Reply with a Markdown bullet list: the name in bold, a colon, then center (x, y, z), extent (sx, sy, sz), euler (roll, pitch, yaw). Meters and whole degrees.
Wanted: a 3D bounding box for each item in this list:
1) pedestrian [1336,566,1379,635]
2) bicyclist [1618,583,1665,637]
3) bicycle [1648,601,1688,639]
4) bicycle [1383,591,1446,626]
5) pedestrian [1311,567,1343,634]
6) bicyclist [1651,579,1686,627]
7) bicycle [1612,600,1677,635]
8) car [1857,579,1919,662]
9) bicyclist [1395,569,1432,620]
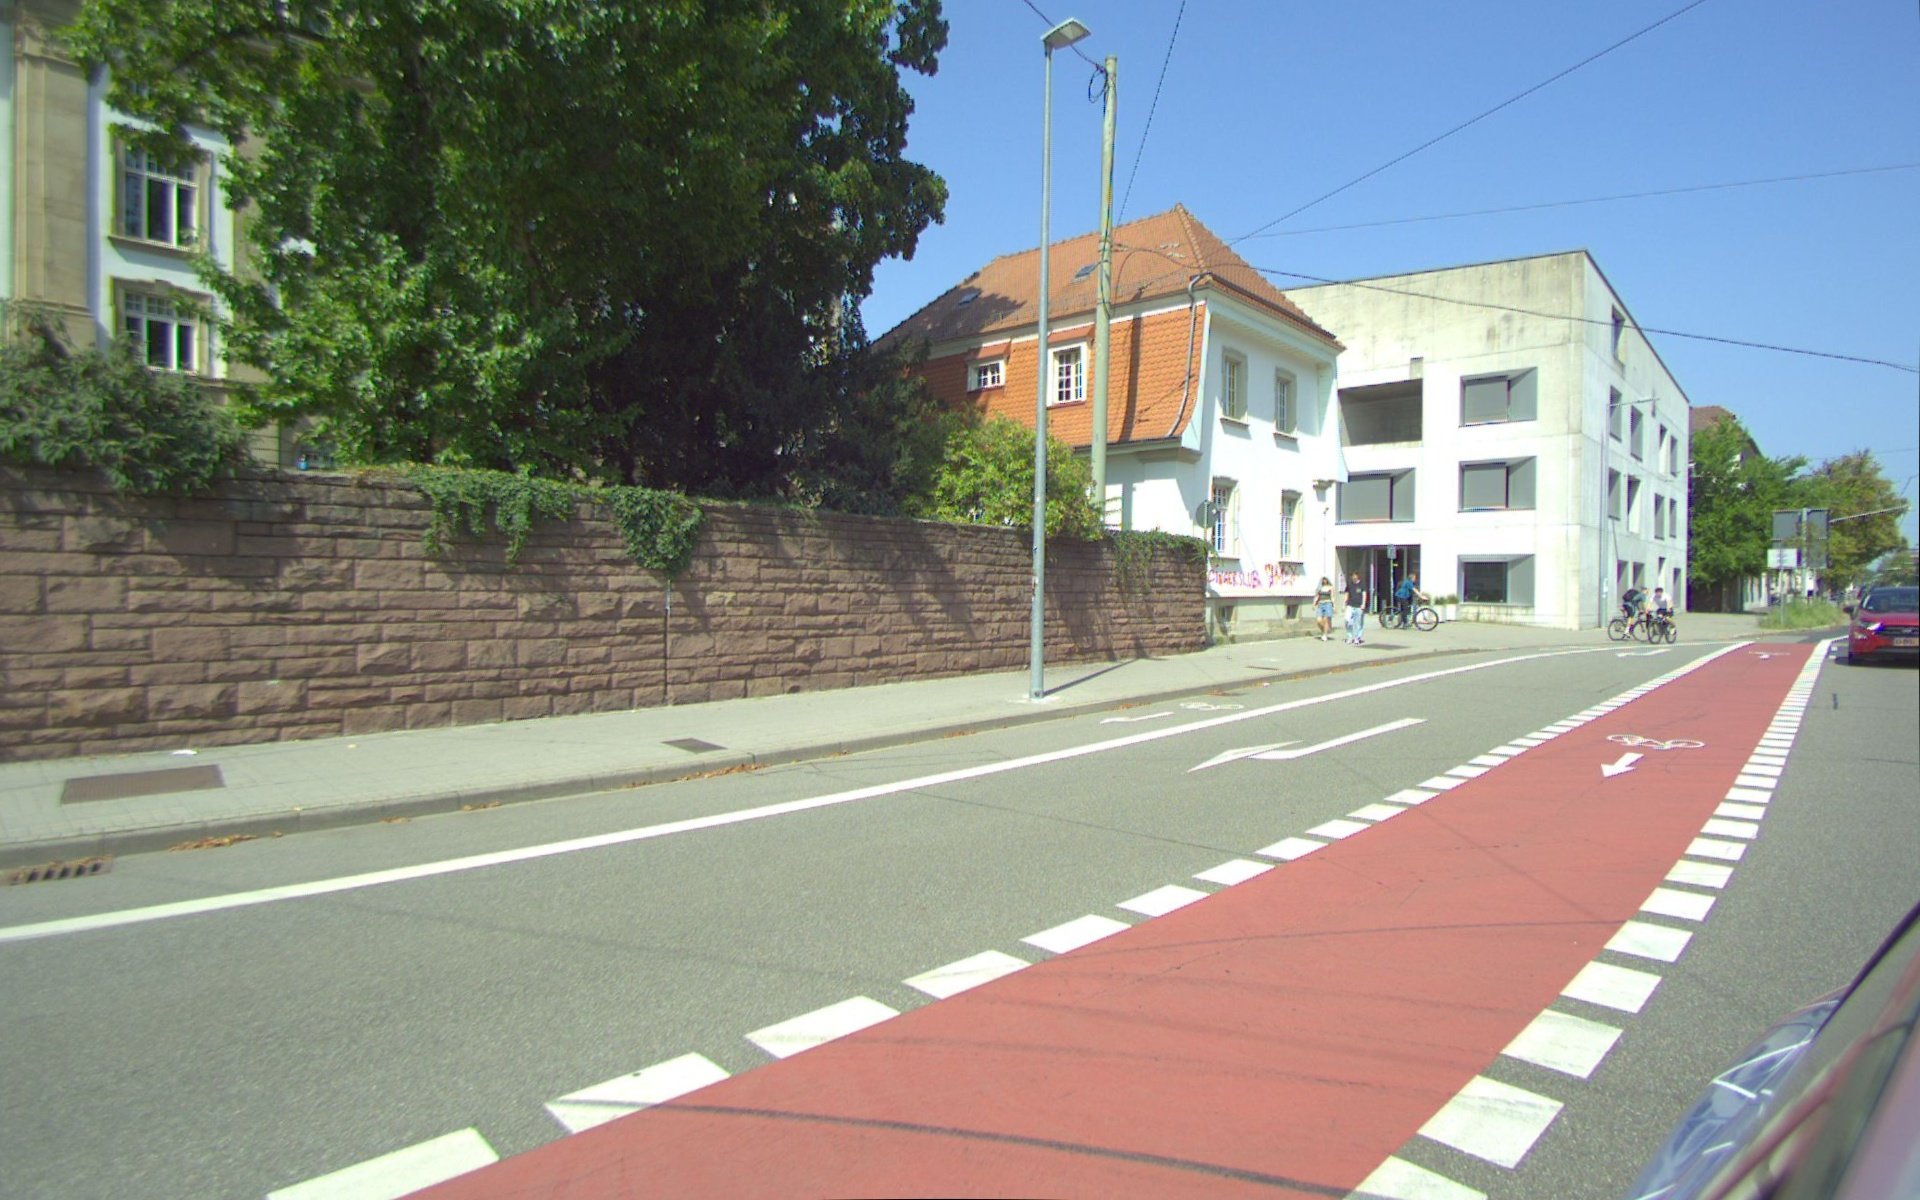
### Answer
- **pedestrian**: center (9.934, 0.006, 25.277), extent (0.727, 1.687, 0.865), euler (0, 0, 44)
- **bicyclist**: center (21.600, 0.307, 32.091), extent (0.972, 1.617, 0.629), euler (2, 2, -8)
- **bicycle**: center (21.191, 0.572, 30.267), extent (0.739, 1.062, 2.199), euler (1, 1, 42)
- **bicycle**: center (14.411, 0.268, 32.136), extent (1.685, 1.012, 0.613), euler (2, 1, 13)
- **pedestrian**: center (9.357, 0.002, 25.802), extent (0.617, 1.687, 0.480), euler (0, 0, 42)
- **bicyclist**: center (21.161, 0.081, 30.238), extent (0.744, 1.429, 0.947), euler (1, 0, 43)
- **bicycle**: center (21.637, 0.546, 31.999), extent (1.676, 1.012, 0.617), euler (-2, 0, -7)
- **car**: center (19.547, 0.383, 20.604), extent (1.811, 1.571, 3.958), euler (0, 0, 43)
- **bicyclist**: center (14.392, -0.190, 32.136), extent (0.890, 1.558, 0.626), euler (3, 2, 12)
